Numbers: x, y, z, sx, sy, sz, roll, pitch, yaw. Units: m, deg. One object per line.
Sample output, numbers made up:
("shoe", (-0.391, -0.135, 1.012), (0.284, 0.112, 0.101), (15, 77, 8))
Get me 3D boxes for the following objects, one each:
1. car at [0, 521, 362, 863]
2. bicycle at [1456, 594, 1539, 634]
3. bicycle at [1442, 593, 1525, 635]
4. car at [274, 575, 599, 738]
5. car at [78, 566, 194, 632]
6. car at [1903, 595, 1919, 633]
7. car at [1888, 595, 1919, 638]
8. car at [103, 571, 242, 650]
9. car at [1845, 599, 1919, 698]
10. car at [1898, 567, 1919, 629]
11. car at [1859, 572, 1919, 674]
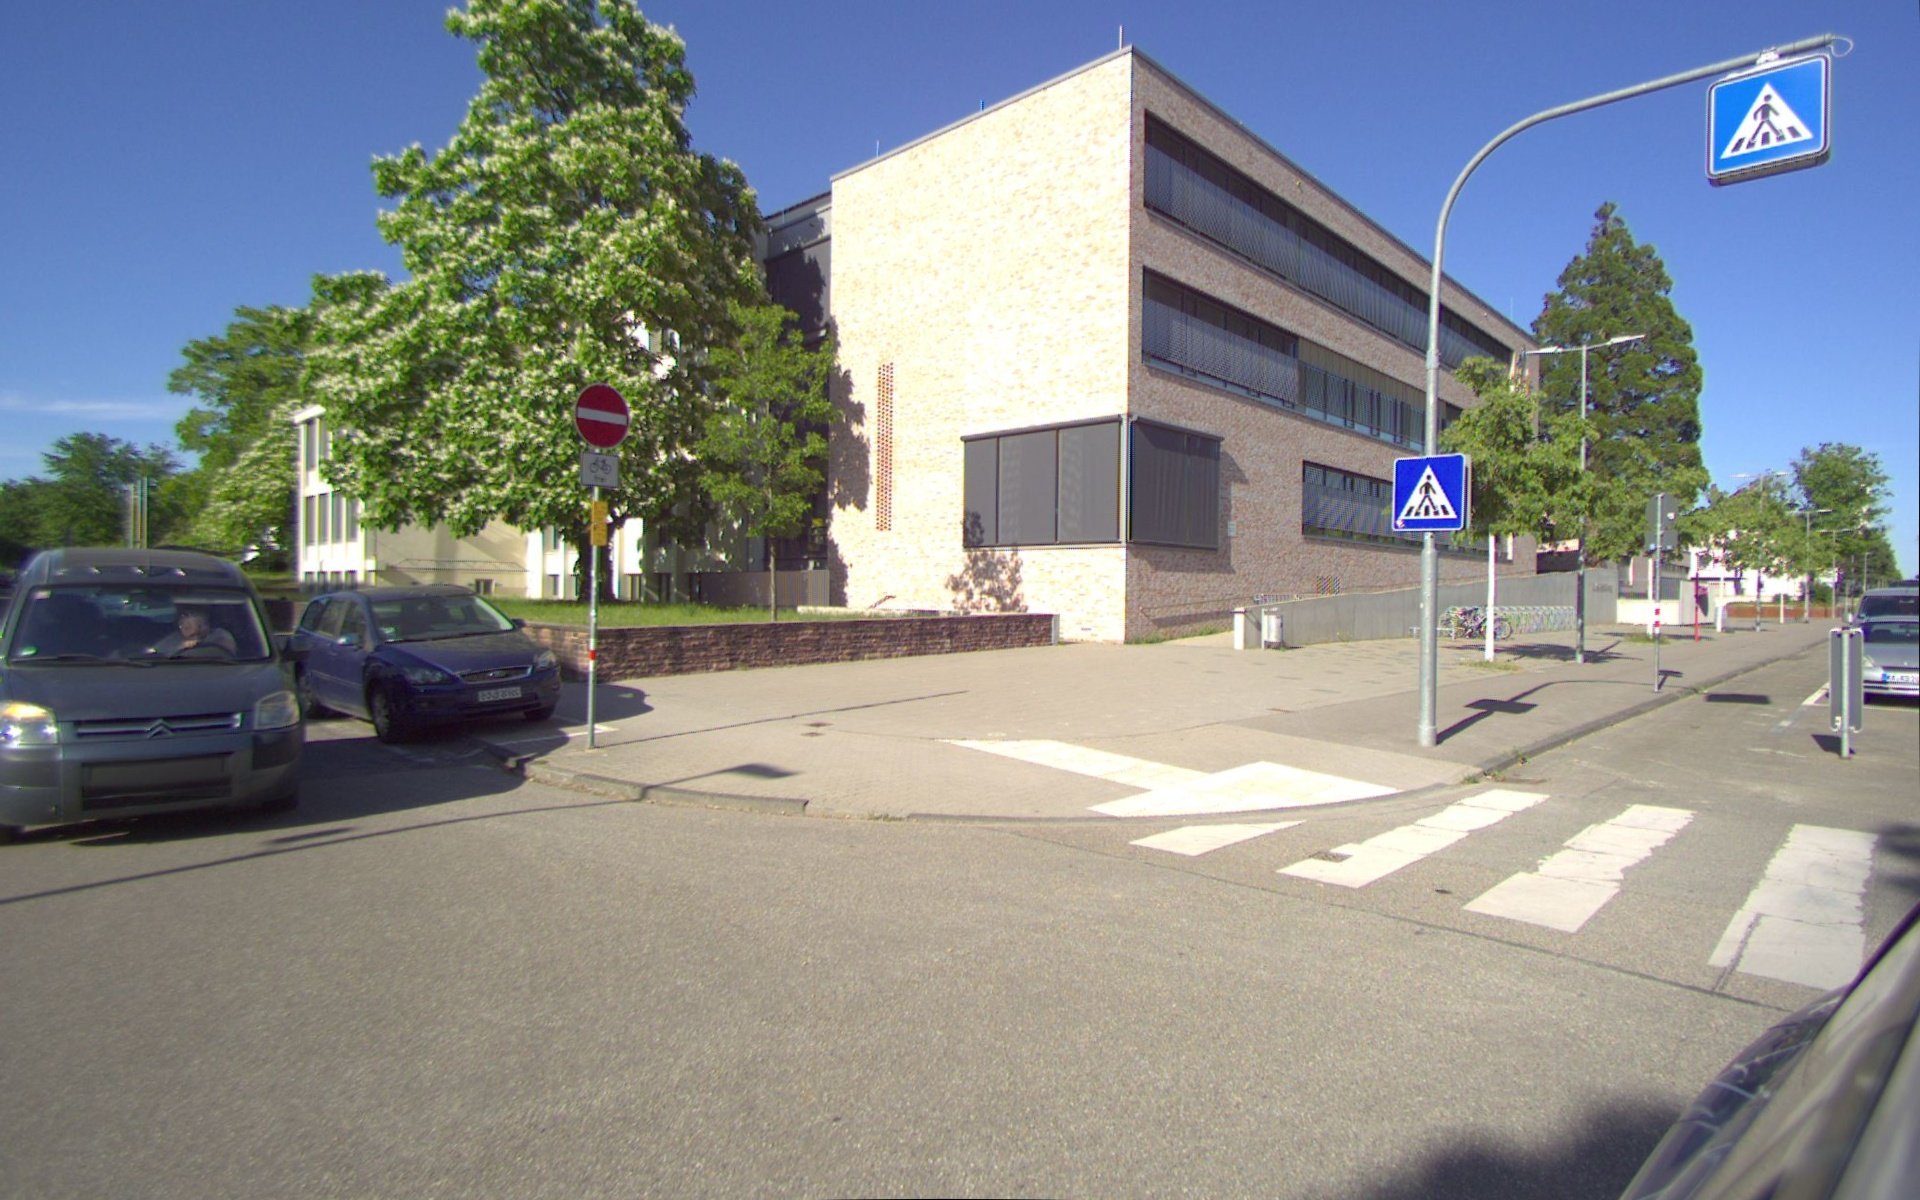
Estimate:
("car", (-6.014, 0.451, 7.380), (4.145, 1.812, 1.873), (1, 1, 45))
("bicycle", (16.713, 0.408, 31.481), (0.846, 1.077, 2.081), (0, 3, -45))
("bicycle", (15.803, 0.403, 30.599), (2.026, 1.076, 0.869), (5, 4, 44))
("car", (-6.105, 0.472, 11.547), (4.545, 1.493, 1.878), (1, 1, 43))
("car", (-22.446, -0.062, 27.503), (4.548, 1.648, 1.968), (1, 1, 45))
("car", (38.008, 0.526, 39.414), (3.860, 1.438, 1.712), (0, 1, -45))
("car", (33.494, 0.555, 35.053), (3.974, 1.438, 1.821), (0, 1, -45))
("car", (-17.635, 0.147, 22.594), (4.150, 1.498, 1.871), (2, 5, 45))
("car", (15.165, 0.686, 15.827), (4.854, 1.349, 1.649), (0, 1, -45))
("car", (42.778, -0.089, 44.433), (6.101, 2.631, 2.070), (0, 1, -45))
("car", (19.856, 0.423, 20.786), (4.551, 1.934, 1.785), (0, 1, -45))
